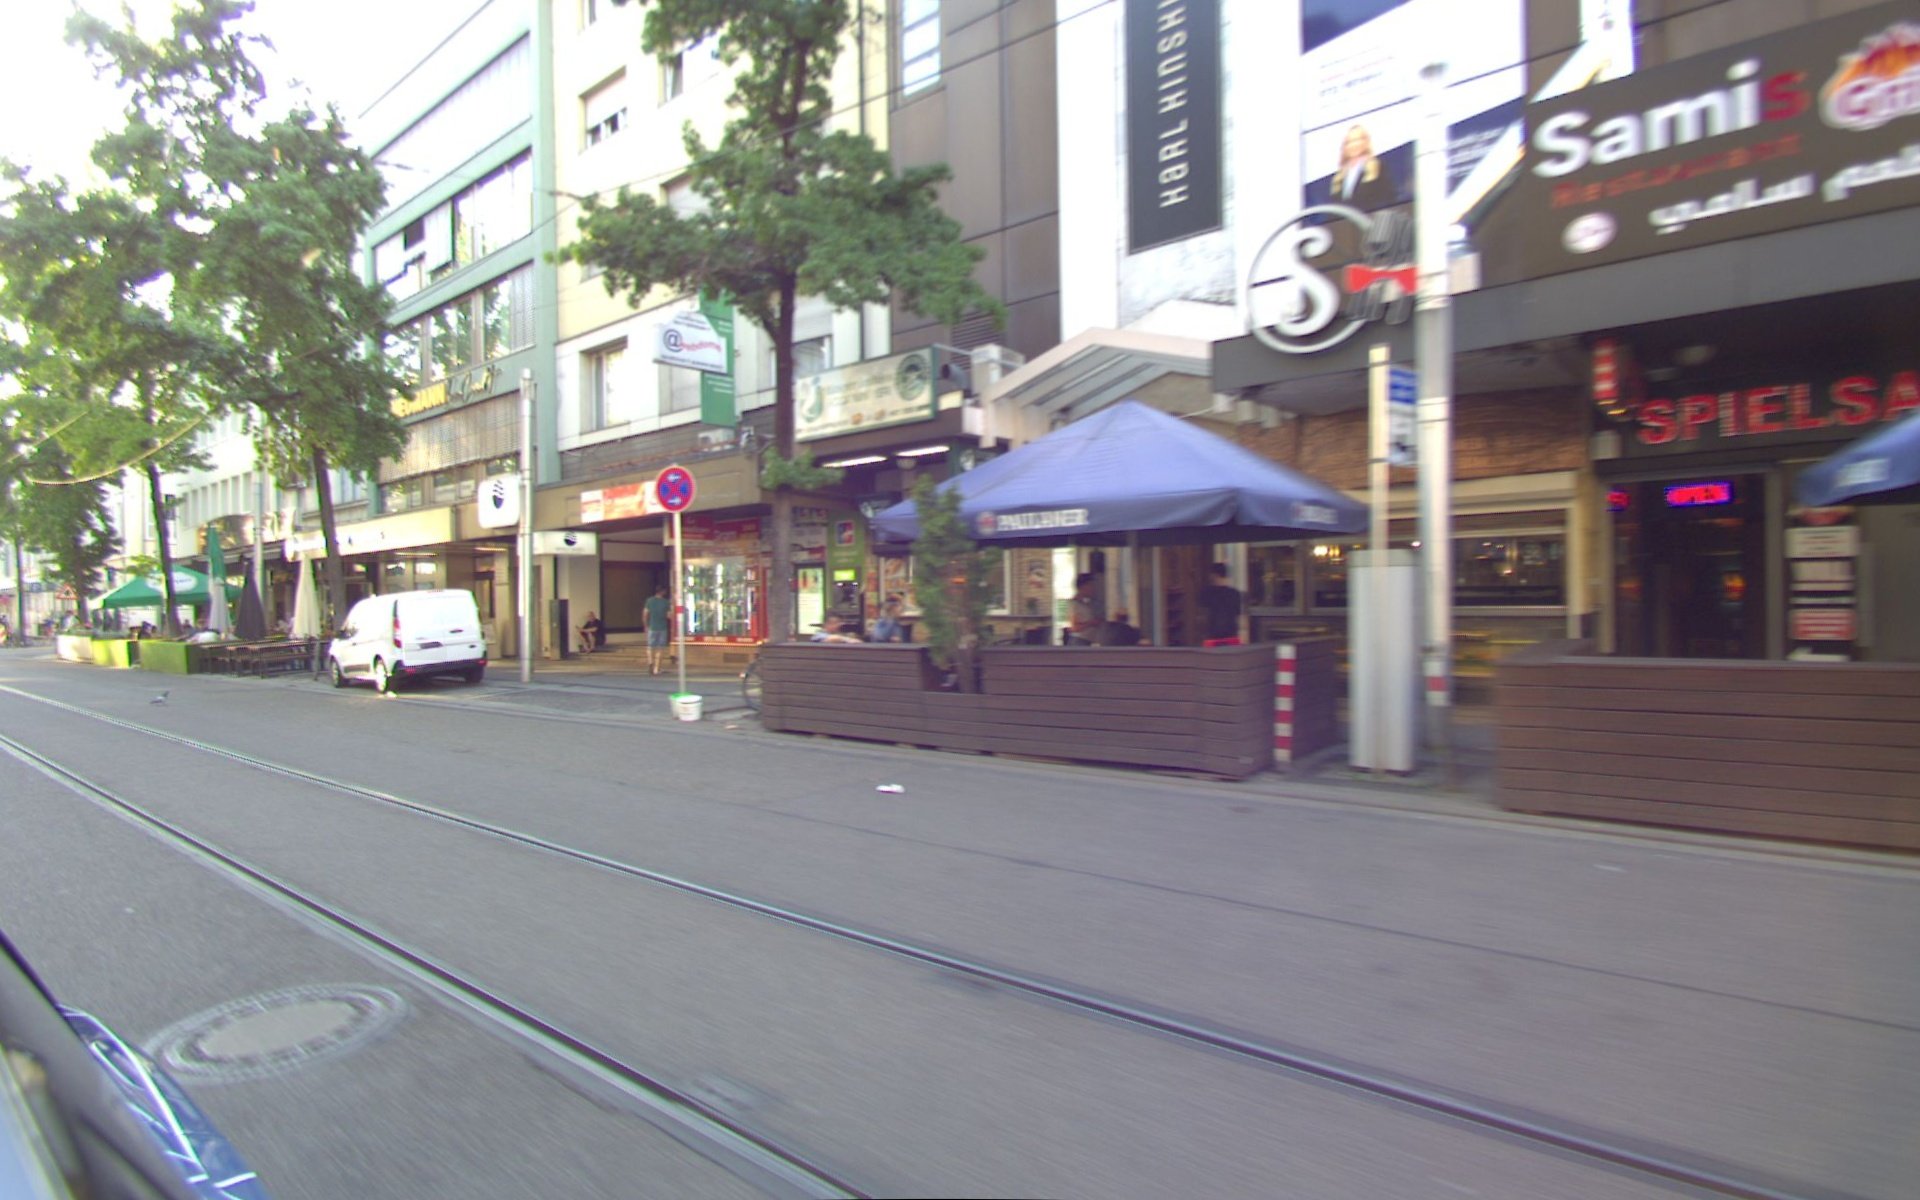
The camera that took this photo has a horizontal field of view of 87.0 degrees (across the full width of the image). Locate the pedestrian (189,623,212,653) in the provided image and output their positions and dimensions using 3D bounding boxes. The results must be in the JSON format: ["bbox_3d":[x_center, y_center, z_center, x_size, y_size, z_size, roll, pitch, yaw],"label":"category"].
[{"bbox_3d":[-33.618,1.657,44.804,0.738,1.279,0.638,-2,1,41],"label":"pedestrian"}]

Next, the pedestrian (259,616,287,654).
[{"bbox_3d":[-25.027,1.274,36.882,0.696,1.319,0.613,-2,2,40],"label":"pedestrian"}]

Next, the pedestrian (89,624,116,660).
[{"bbox_3d":[-34.456,1.666,40.671,0.806,1.397,0.682,-2,1,41],"label":"pedestrian"}]

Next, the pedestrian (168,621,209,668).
[{"bbox_3d":[-23.749,1.368,31.143,0.872,1.353,0.747,-2,2,40],"label":"pedestrian"}]

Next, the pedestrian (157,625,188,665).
[{"bbox_3d":[-26.164,1.488,33.620,0.696,1.254,0.613,-2,2,40],"label":"pedestrian"}]

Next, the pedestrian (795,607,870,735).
[{"bbox_3d":[-1.429,0.775,11.330,0.582,1.366,0.544,-2,0,40],"label":"pedestrian"}]

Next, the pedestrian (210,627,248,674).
[{"bbox_3d":[-21.281,1.466,29.453,0.797,1.302,0.650,-2,2,40],"label":"pedestrian"}]

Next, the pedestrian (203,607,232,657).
[{"bbox_3d":[-26.768,1.155,36.478,0.697,1.770,0.671,-2,1,42],"label":"pedestrian"}]

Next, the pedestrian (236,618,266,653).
[{"bbox_3d":[-26.226,1.319,37.429,0.798,1.251,0.663,-2,1,40],"label":"pedestrian"}]

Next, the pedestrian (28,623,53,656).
[{"bbox_3d":[-53.031,2.266,58.367,0.884,1.795,0.857,-2,2,40],"label":"pedestrian"}]

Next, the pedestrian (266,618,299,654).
[{"bbox_3d":[-24.321,1.289,36.310,0.787,1.241,0.729,-2,2,40],"label":"pedestrian"}]

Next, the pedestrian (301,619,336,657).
[{"bbox_3d":[-21.199,1.258,33.437,0.787,1.176,0.693,-2,2,40],"label":"pedestrian"}]

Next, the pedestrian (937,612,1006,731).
[{"bbox_3d":[0.131,0.763,11.068,0.535,1.237,0.490,-2,0,40],"label":"pedestrian"}]

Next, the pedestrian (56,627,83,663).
[{"bbox_3d":[-36.232,1.809,41.163,0.806,1.397,0.682,-2,1,41],"label":"pedestrian"}]

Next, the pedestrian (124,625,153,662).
[{"bbox_3d":[-30.627,1.620,37.715,0.806,1.321,0.682,-2,1,41],"label":"pedestrian"}]

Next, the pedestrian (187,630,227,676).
[{"bbox_3d":[-21.186,1.482,28.473,0.797,1.202,0.650,-2,2,40],"label":"pedestrian"}]

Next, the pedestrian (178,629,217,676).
[{"bbox_3d":[-21.766,1.493,28.896,0.872,1.253,0.650,-2,2,40],"label":"pedestrian"}]

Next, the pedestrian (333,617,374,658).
[{"bbox_3d":[-18.989,1.160,31.693,1.064,1.197,0.745,-2,2,40],"label":"pedestrian"}]

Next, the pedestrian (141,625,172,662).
[{"bbox_3d":[-28.906,1.567,36.392,0.869,1.269,0.700,-2,1,43],"label":"pedestrian"}]

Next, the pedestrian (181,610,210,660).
[{"bbox_3d":[-26.790,1.217,35.480,0.696,1.683,0.612,-2,1,40],"label":"pedestrian"}]

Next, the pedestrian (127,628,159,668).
[{"bbox_3d":[-26.531,1.548,32.866,0.696,1.254,0.613,-2,2,40],"label":"pedestrian"}]

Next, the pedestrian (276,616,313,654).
[{"bbox_3d":[-23.343,1.220,35.511,0.944,1.246,0.769,-2,2,40],"label":"pedestrian"}]

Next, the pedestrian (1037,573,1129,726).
[{"bbox_3d":[1.365,0.527,11.221,0.719,1.619,0.666,-2,0,40],"label":"pedestrian"}]

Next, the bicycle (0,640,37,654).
[{"bbox_3d":[-51.544,2.561,55.104,1.282,0.613,1.776,-2,1,44],"label":"bicycle"}]

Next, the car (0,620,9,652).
[{"bbox_3d":[-58.280,2.190,60.370,4.558,1.846,1.838,-1,0,42],"label":"car"}]

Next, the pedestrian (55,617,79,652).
[{"bbox_3d":[-46.966,1.805,53.223,0.984,1.805,0.766,-2,2,42],"label":"pedestrian"}]

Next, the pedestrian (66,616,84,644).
[{"bbox_3d":[-53.249,1.823,60.858,0.967,1.669,0.699,-3,-2,42],"label":"pedestrian"}]

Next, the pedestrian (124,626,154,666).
[{"bbox_3d":[-27.358,1.525,33.723,0.696,1.254,0.613,-2,2,40],"label":"pedestrian"}]

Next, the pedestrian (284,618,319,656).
[{"bbox_3d":[-22.187,1.247,34.105,0.787,1.222,0.729,-2,2,40],"label":"pedestrian"}]

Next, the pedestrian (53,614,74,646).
[{"bbox_3d":[-52.202,1.732,58.907,0.875,1.826,0.712,-2,2,40],"label":"pedestrian"}]

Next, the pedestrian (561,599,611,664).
[{"bbox_3d":[-8.889,0.746,24.040,0.764,1.477,0.762,-2,2,38],"label":"pedestrian"}]

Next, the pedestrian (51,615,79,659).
[{"bbox_3d":[-38.474,1.589,43.499,0.686,1.805,0.749,-2,1,39],"label":"pedestrian"}]

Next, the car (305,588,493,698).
[{"bbox_3d":[-11.231,0.797,20.129,4.552,1.878,1.777,-2,2,42],"label":"car"}]

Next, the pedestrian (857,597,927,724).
[{"bbox_3d":[-0.804,0.703,11.997,0.582,1.440,0.544,-2,0,40],"label":"pedestrian"}]

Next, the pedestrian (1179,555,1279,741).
[{"bbox_3d":[2.640,0.445,9.922,0.675,1.737,0.710,-2,0,39],"label":"pedestrian"}]

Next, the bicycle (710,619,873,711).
[{"bbox_3d":[-2.269,0.877,13.595,2.073,1.129,0.694,-3,1,23],"label":"bicycle"}]

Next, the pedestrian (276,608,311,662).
[{"bbox_3d":[-20.249,1.053,30.740,0.700,1.586,0.641,-2,2,40],"label":"pedestrian"}]

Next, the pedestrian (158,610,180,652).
[{"bbox_3d":[-35.691,1.395,45.663,0.675,1.829,0.766,-3,1,-34],"label":"pedestrian"}]

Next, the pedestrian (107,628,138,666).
[{"bbox_3d":[-29.564,1.638,35.725,0.772,1.269,0.700,-2,1,43],"label":"pedestrian"}]

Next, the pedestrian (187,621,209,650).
[{"bbox_3d":[-31.856,1.498,42.302,0.686,1.170,0.547,-2,1,41],"label":"pedestrian"}]

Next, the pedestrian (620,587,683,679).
[{"bbox_3d":[-5.942,0.624,19.492,1.004,1.698,0.660,-2,1,40],"label":"pedestrian"}]
